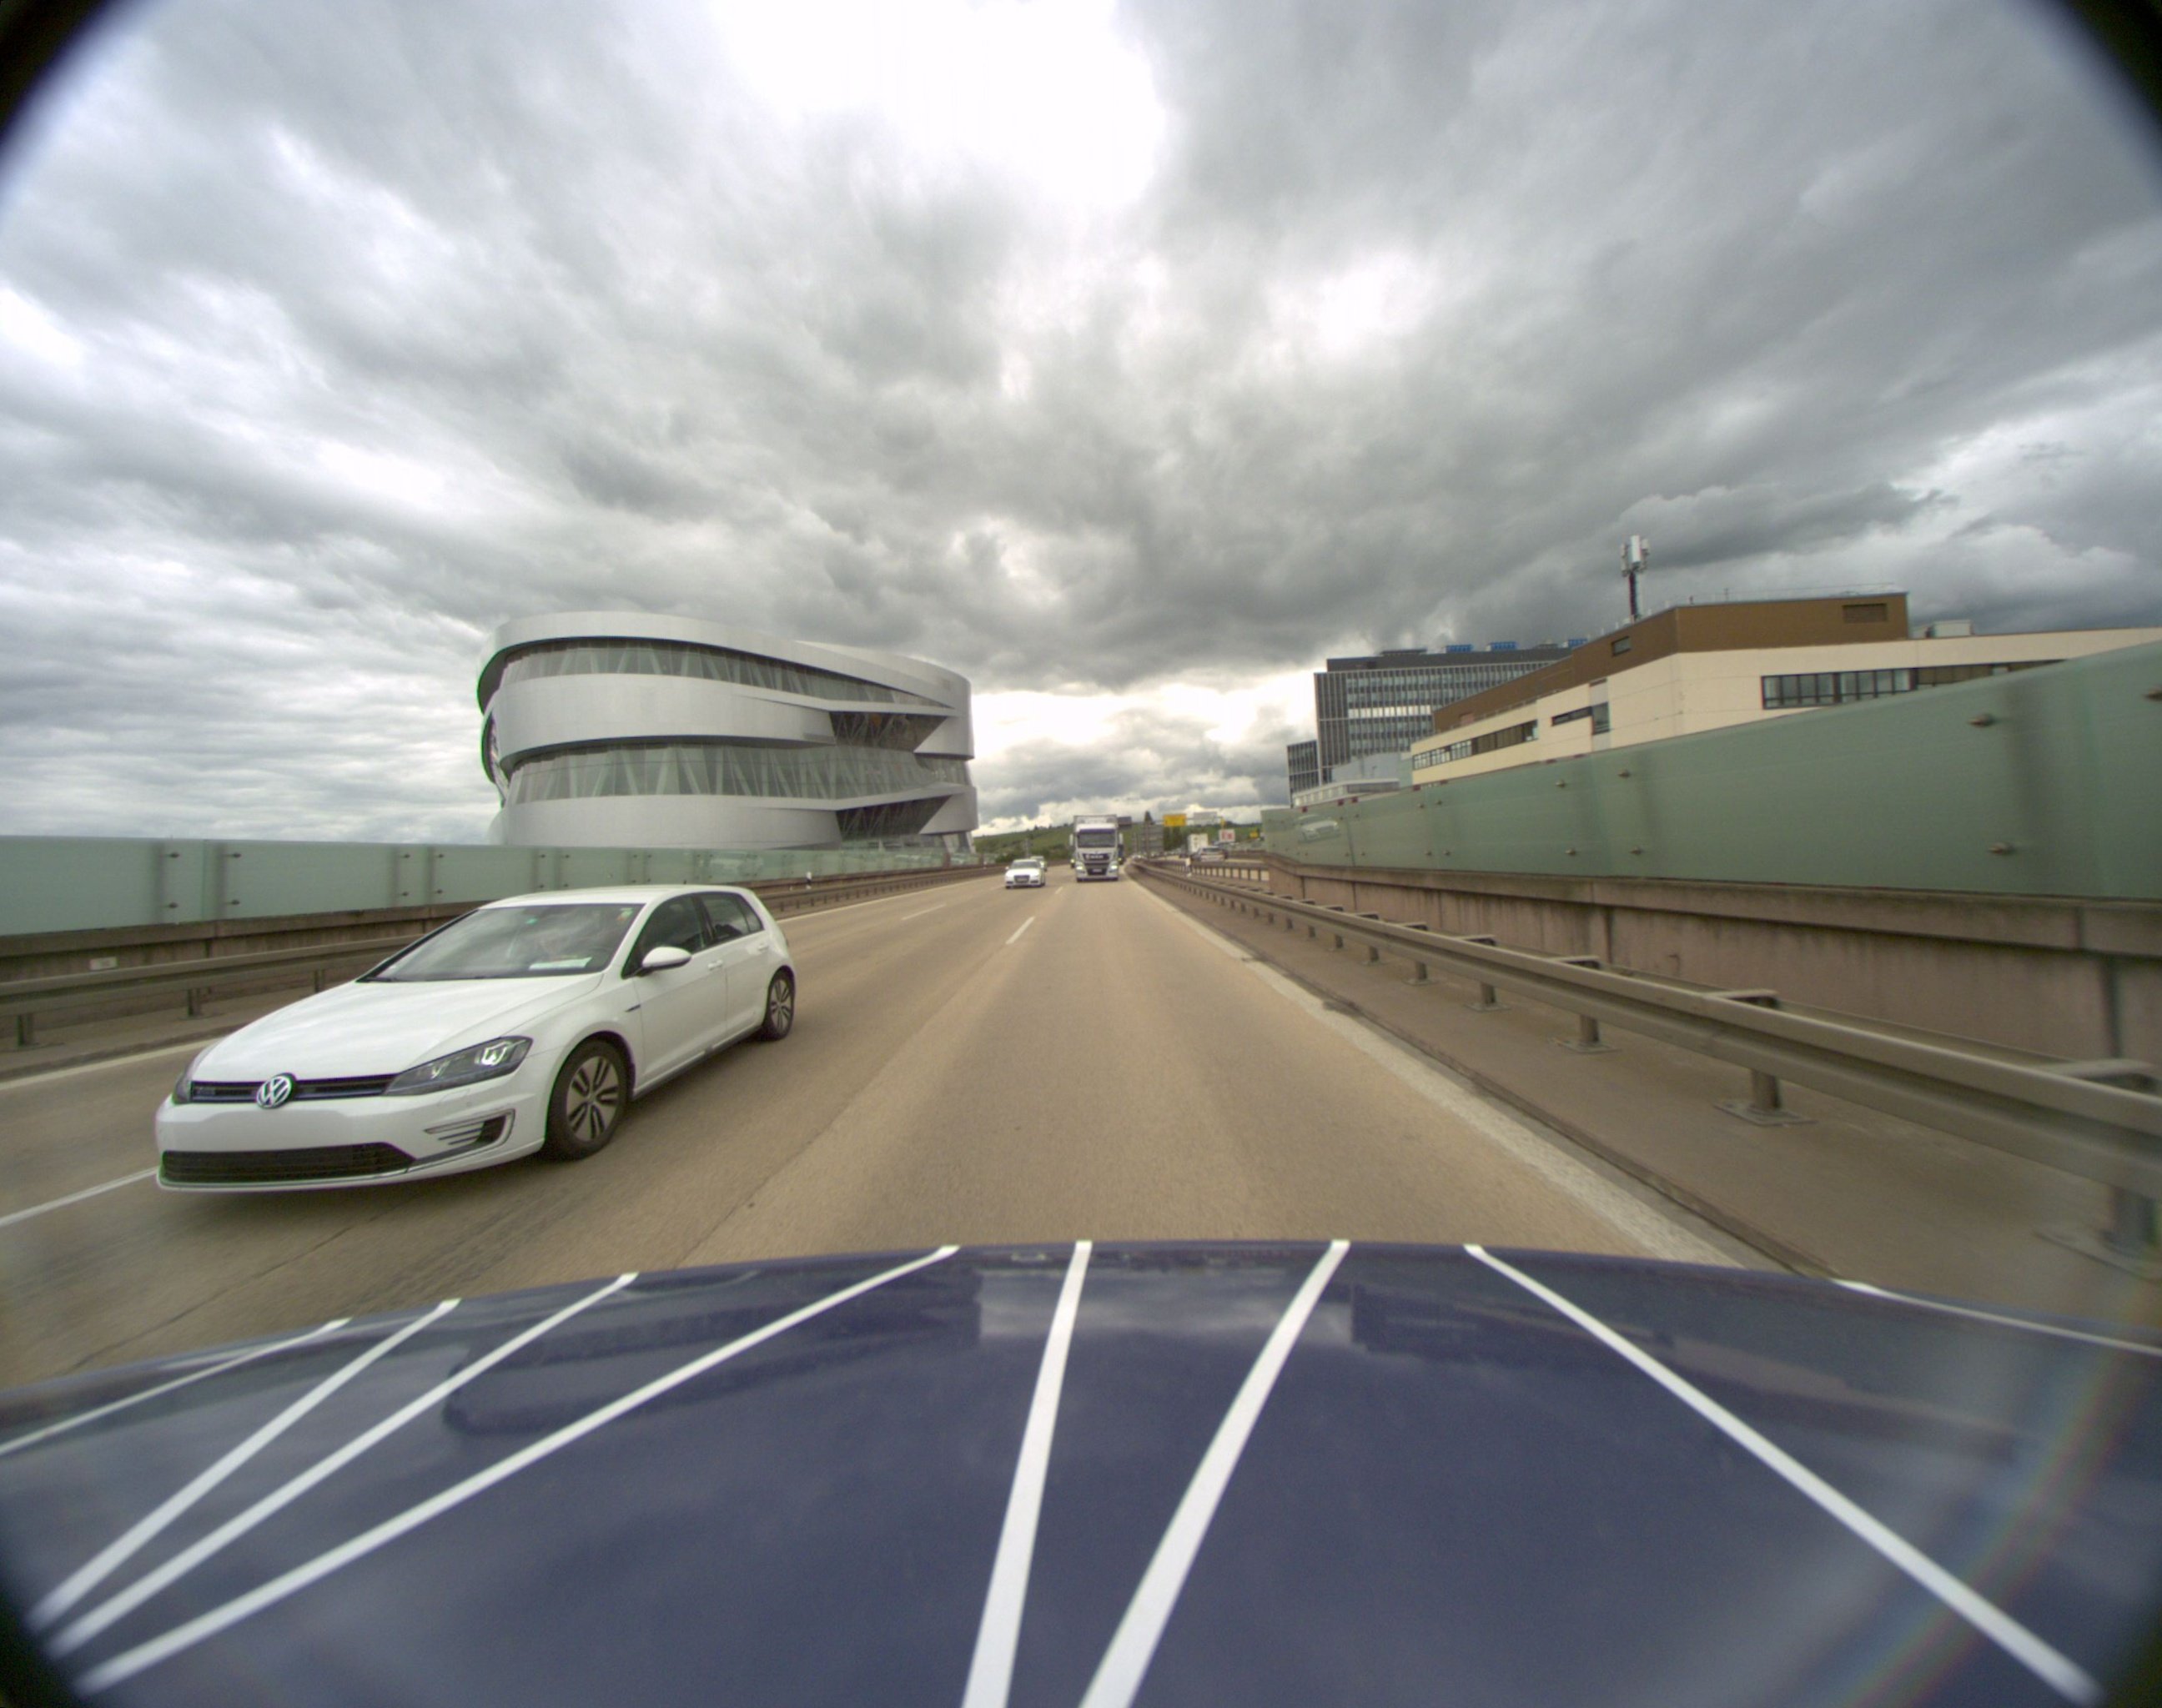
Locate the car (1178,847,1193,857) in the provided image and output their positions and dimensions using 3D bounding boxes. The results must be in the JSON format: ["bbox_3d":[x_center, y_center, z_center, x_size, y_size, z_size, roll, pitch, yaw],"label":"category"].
[{"bbox_3d":[19.661,-0.374,142.863,2.027,1.602,4.813,-2,0,-1],"label":"car"}]

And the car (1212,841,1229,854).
[{"bbox_3d":[19.220,-0.873,104.795,1.758,1.737,4.370,-2,0,4],"label":"car"}]

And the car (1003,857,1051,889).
[{"bbox_3d":[-2.681,0.914,38.628,1.847,1.443,3.933,-3,0,4],"label":"car"}]

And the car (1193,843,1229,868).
[{"bbox_3d":[9.453,0.114,55.536,1.849,1.663,4.407,-2,0,0],"label":"car"}]

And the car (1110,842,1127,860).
[{"bbox_3d":[5.356,-0.435,107.721,2.144,2.494,4.524,-2,1,1],"label":"car"}]

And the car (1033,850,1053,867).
[{"bbox_3d":[-4.016,0.479,80.183,1.785,1.624,3.628,-2,1,2],"label":"car"}]

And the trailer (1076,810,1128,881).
[{"bbox_3d":[1.470,-0.535,50.509,2.879,4.104,11.221,-2,0,2],"label":"trailer"}]

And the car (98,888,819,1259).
[{"bbox_3d":[-3.505,1.082,5.461,1.759,1.443,4.072,-2,0,0],"label":"car"}]

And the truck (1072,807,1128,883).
[{"bbox_3d":[1.242,-0.506,45.437,2.945,4.136,6.292,-2,0,3],"label":"truck"}]

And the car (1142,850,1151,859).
[{"bbox_3d":[16.623,0.120,192.799,1.998,2.002,4.001,-2,1,6],"label":"car"}]

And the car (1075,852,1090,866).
[{"bbox_3d":[0.207,0.603,96.178,1.765,1.624,3.628,-2,1,2],"label":"car"}]

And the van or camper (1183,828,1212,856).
[{"bbox_3d":[14.494,-1.473,94.722,2.411,3.368,6.954,-2,1,0],"label":"van or camper"}]
